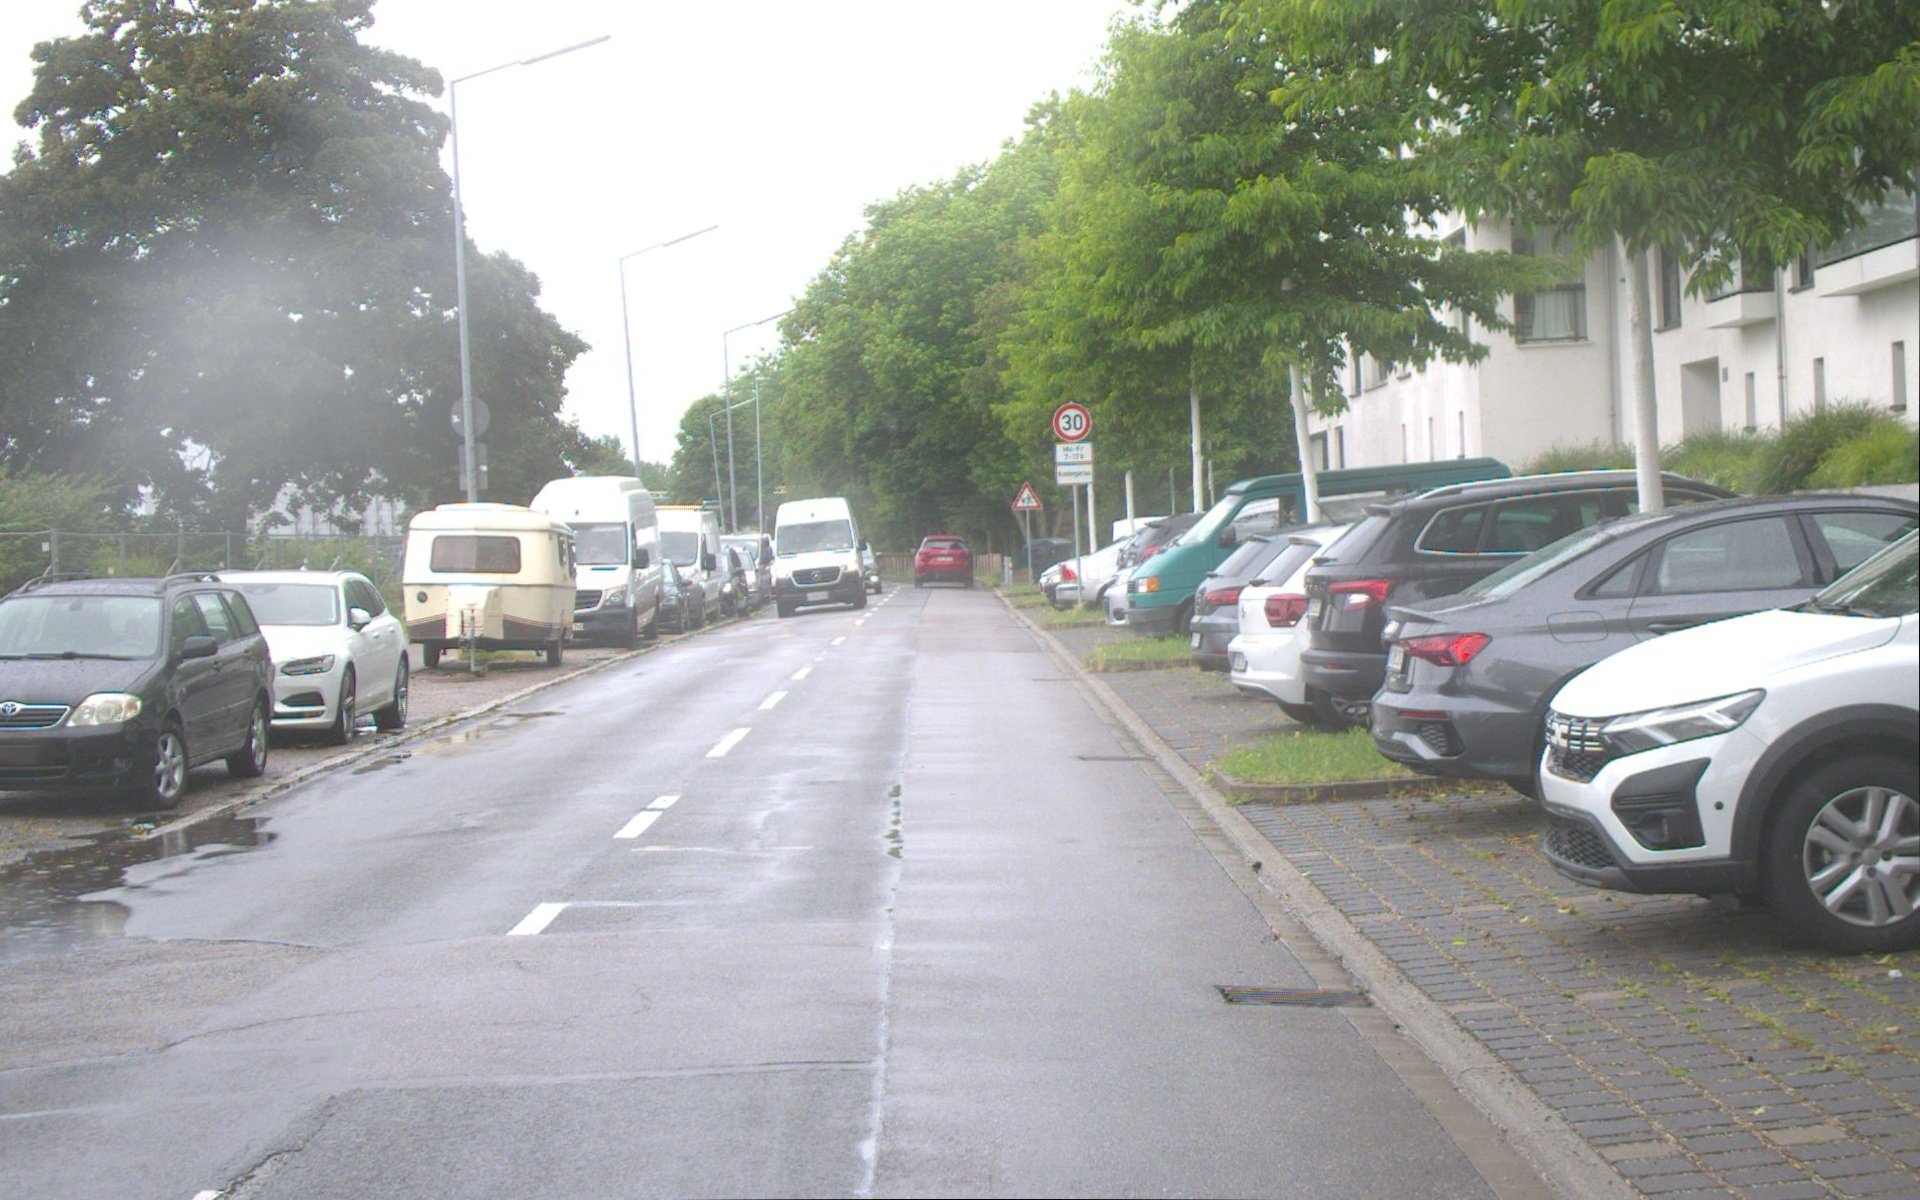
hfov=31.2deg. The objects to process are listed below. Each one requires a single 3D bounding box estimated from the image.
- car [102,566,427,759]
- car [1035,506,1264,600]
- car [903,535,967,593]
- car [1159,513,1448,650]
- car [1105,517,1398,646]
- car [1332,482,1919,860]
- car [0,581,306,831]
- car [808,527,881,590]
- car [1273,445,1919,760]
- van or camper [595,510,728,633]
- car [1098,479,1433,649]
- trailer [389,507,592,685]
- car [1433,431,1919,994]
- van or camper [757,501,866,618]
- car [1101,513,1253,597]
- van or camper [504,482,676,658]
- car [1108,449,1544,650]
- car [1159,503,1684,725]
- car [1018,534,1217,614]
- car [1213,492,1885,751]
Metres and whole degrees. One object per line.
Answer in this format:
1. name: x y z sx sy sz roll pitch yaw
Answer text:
1. car: -5.989 0.479 30.210 1.887 1.520 5.110 0 1 -1
2. car: 3.759 -0.943 68.885 4.388 1.628 2.005 -3 1 0
3. car: -0.759 -1.138 108.649 1.756 1.700 4.000 -3 1 2
4. car: 4.113 -0.229 41.396 3.254 1.477 1.317 -3 1 -1
5. car: 4.181 -0.280 49.702 3.882 1.675 1.864 -3 1 -5
6. car: 3.929 0.256 16.572 3.987 1.504 1.684 -4 2 0
7. car: -5.903 0.655 23.825 1.774 1.497 4.828 -1 1 0
8. car: -3.390 -1.232 101.761 1.882 1.751 4.068 -3 1 1
9. car: 4.234 -0.018 21.753 4.161 1.619 1.898 -4 1 -2
10. van or camper: -6.254 -0.620 72.775 2.189 2.453 6.377 -1 1 0
11. car: 3.904 -0.473 44.439 4.094 1.888 1.726 -4 1 1
12. trailer: -6.257 -0.099 46.436 2.058 2.210 5.795 -1 1 -2
13. car: 4.122 0.179 12.094 4.476 1.681 1.936 -6 1 -1
14. van or camper: -3.422 -0.970 80.527 1.993 2.488 7.178 -4 1 1
15. car: 6.278 -1.306 99.578 3.991 2.285 1.775 -1 1 20
16. van or camper: -6.190 -0.523 58.452 1.993 2.752 7.898 -1 1 0
17. car: 4.137 -0.579 39.318 4.617 2.012 1.858 -3 1 -4
18. car: 3.814 0.099 28.798 4.030 1.494 1.632 -4 1 -3
19. car: 3.484 -0.584 76.467 4.091 1.569 1.868 -3 1 -7
20. car: 4.052 0.132 24.079 4.298 1.423 1.637 -4 1 -2
